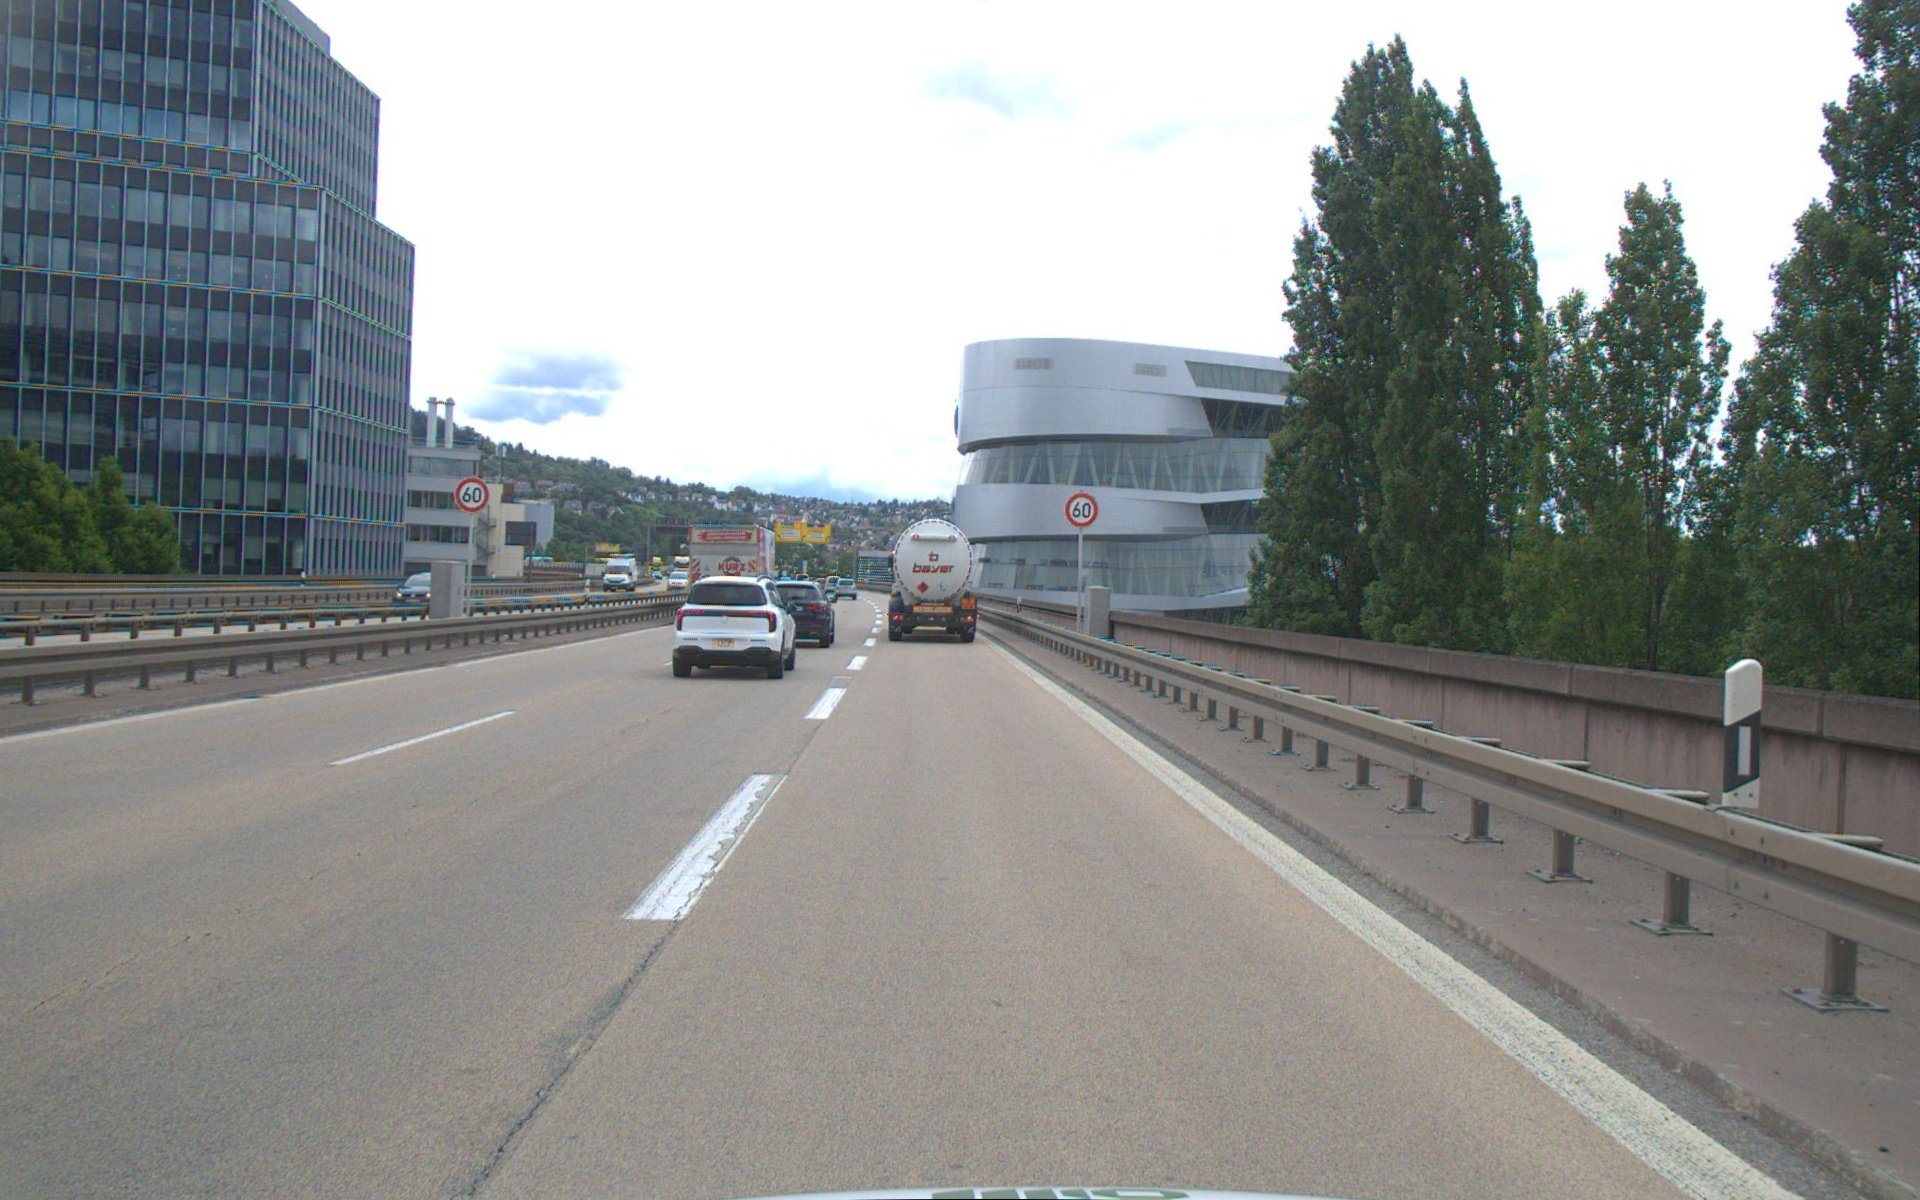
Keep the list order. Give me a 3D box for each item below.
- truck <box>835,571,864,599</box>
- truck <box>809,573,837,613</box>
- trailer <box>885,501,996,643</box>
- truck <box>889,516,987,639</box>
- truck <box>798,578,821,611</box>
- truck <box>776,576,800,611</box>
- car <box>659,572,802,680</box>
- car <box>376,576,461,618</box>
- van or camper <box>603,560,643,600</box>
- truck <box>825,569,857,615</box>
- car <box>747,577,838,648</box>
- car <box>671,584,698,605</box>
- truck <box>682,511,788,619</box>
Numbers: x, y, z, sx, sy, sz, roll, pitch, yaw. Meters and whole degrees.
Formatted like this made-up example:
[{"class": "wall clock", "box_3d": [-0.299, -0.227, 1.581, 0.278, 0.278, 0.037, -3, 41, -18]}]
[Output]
[{"class": "truck", "box_3d": [-9.066, -1.228, 136.406, 2.210, 2.201, 5.066, 1, 0, -2]}, {"class": "truck", "box_3d": [-16.501, -0.820, 198.842, 2.999, 4.642, 8.291, 1, 0, -7]}, {"class": "trailer", "box_3d": [-0.642, -0.768, 49.808, 2.995, 3.856, 8.301, 1, 0, -1]}, {"class": "truck", "box_3d": [-0.711, -0.695, 53.851, 2.953, 3.721, 6.272, 1, 0, -1]}, {"class": "truck", "box_3d": [-22.119, -0.813, 242.291, 2.999, 4.642, 8.291, 1, 0, -7]}, {"class": "truck", "box_3d": [-23.369, -0.886, 224.442, 2.999, 4.642, 8.291, 1, 0, -7]}, {"class": "car", "box_3d": [-3.912, 0.421, 28.908, 1.953, 1.704, 4.407, 1, 0, -1]}, {"class": "car", "box_3d": [-19.567, -0.089, 59.923, 1.750, 1.401, 4.228, 2, 0, -1]}, {"class": "van or camper", "box_3d": [-27.024, -1.612, 132.765, 2.128, 3.061, 7.112, 1, 0, -4]}, {"class": "truck", "box_3d": [-12.610, -0.810, 174.626, 2.999, 4.642, 8.291, 1, 0, -7]}, {"class": "car", "box_3d": [-4.242, 0.304, 42.448, 1.953, 1.704, 4.407, 1, 0, -1]}, {"class": "car", "box_3d": [-23.483, -0.484, 141.264, 1.649, 1.679, 4.311, 2, 0, -2]}, {"class": "truck", "box_3d": [-8.364, -1.232, 62.478, 2.995, 3.755, 8.301, 1, 0, -1]}]
